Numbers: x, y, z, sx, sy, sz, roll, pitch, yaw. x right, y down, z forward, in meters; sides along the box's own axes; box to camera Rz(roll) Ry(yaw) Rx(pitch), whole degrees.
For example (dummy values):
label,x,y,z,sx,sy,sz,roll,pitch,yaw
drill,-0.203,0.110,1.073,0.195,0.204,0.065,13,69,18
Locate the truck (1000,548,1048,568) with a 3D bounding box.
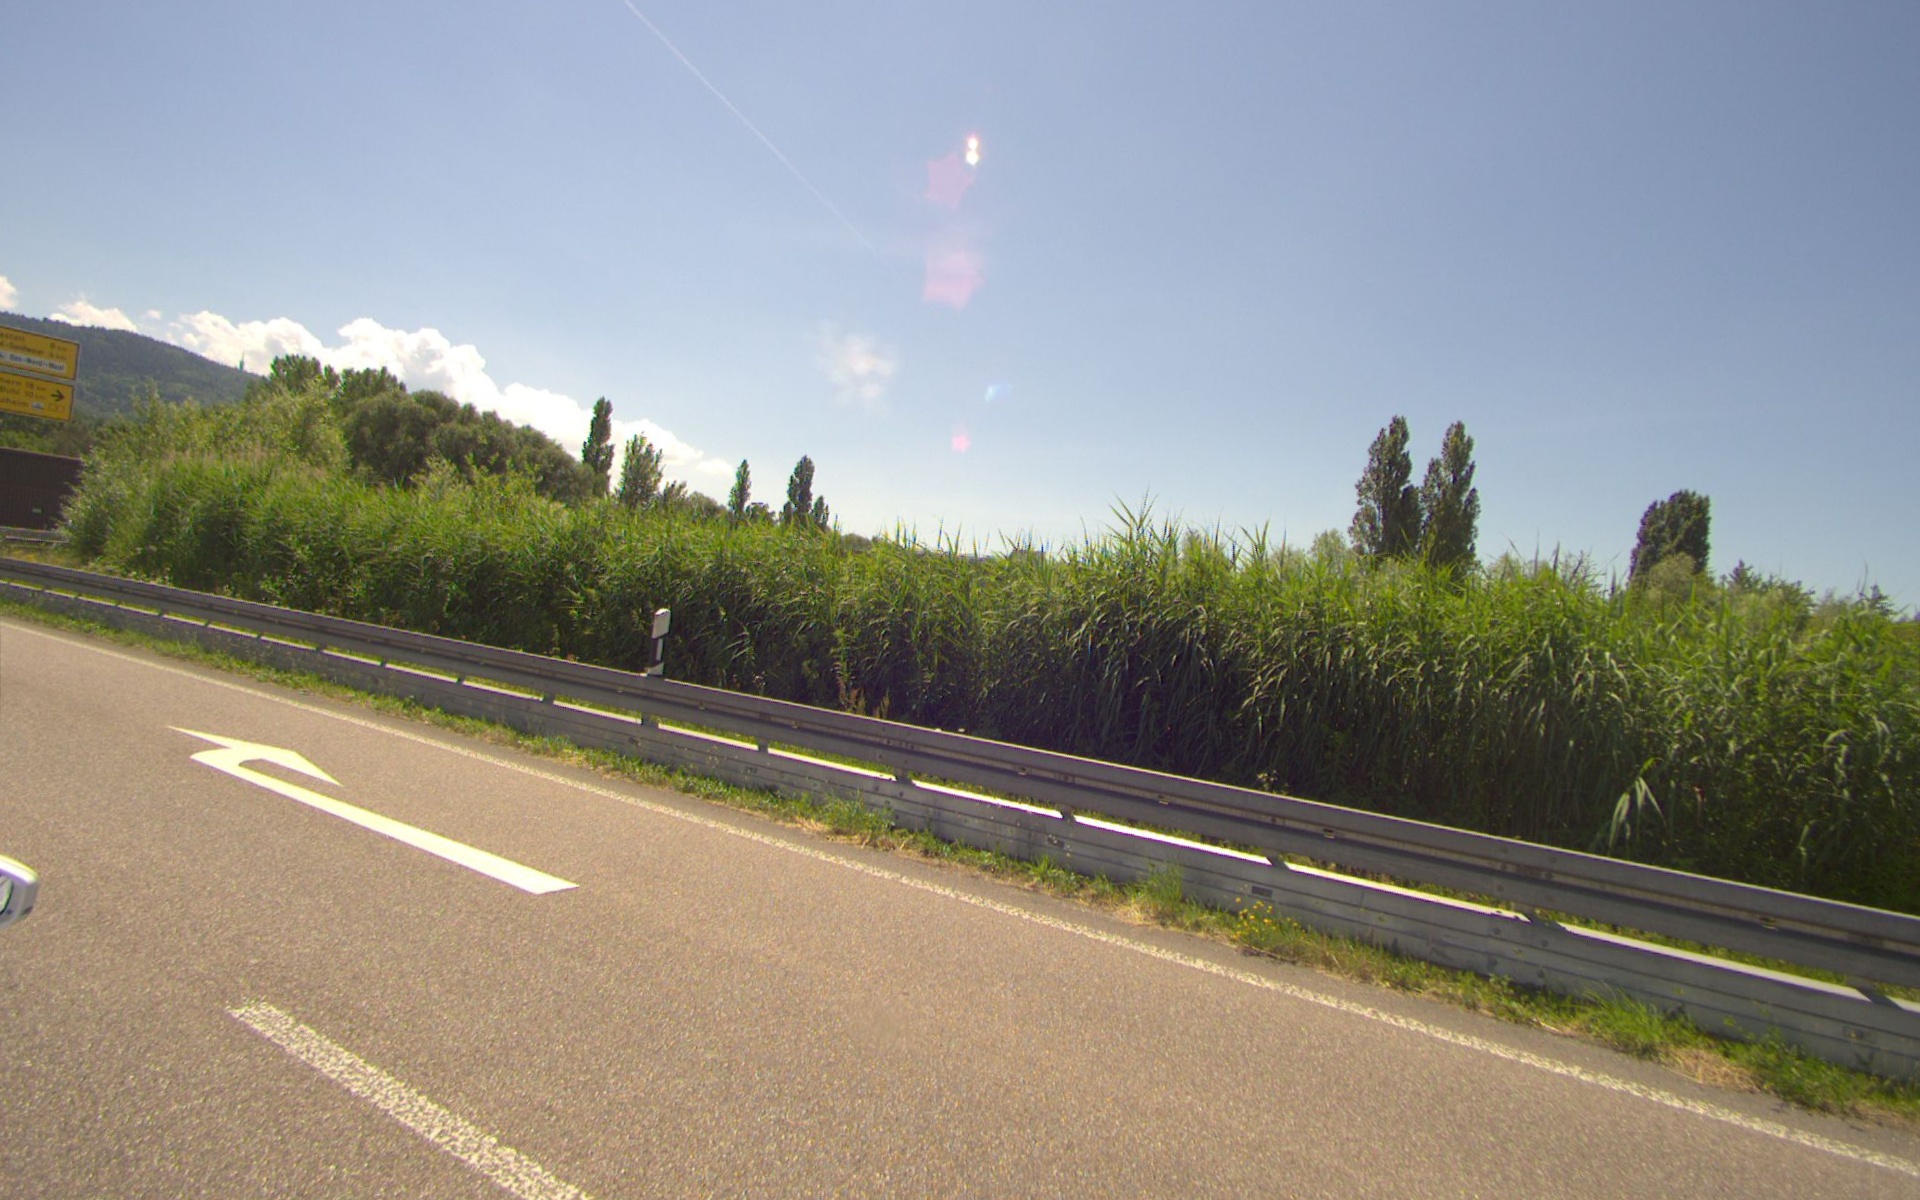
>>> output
label,x,y,z,sx,sy,sz,roll,pitch,yaw
truck,9.437,-6.219,148.863,6.553,2.255,2.623,6,-1,32
